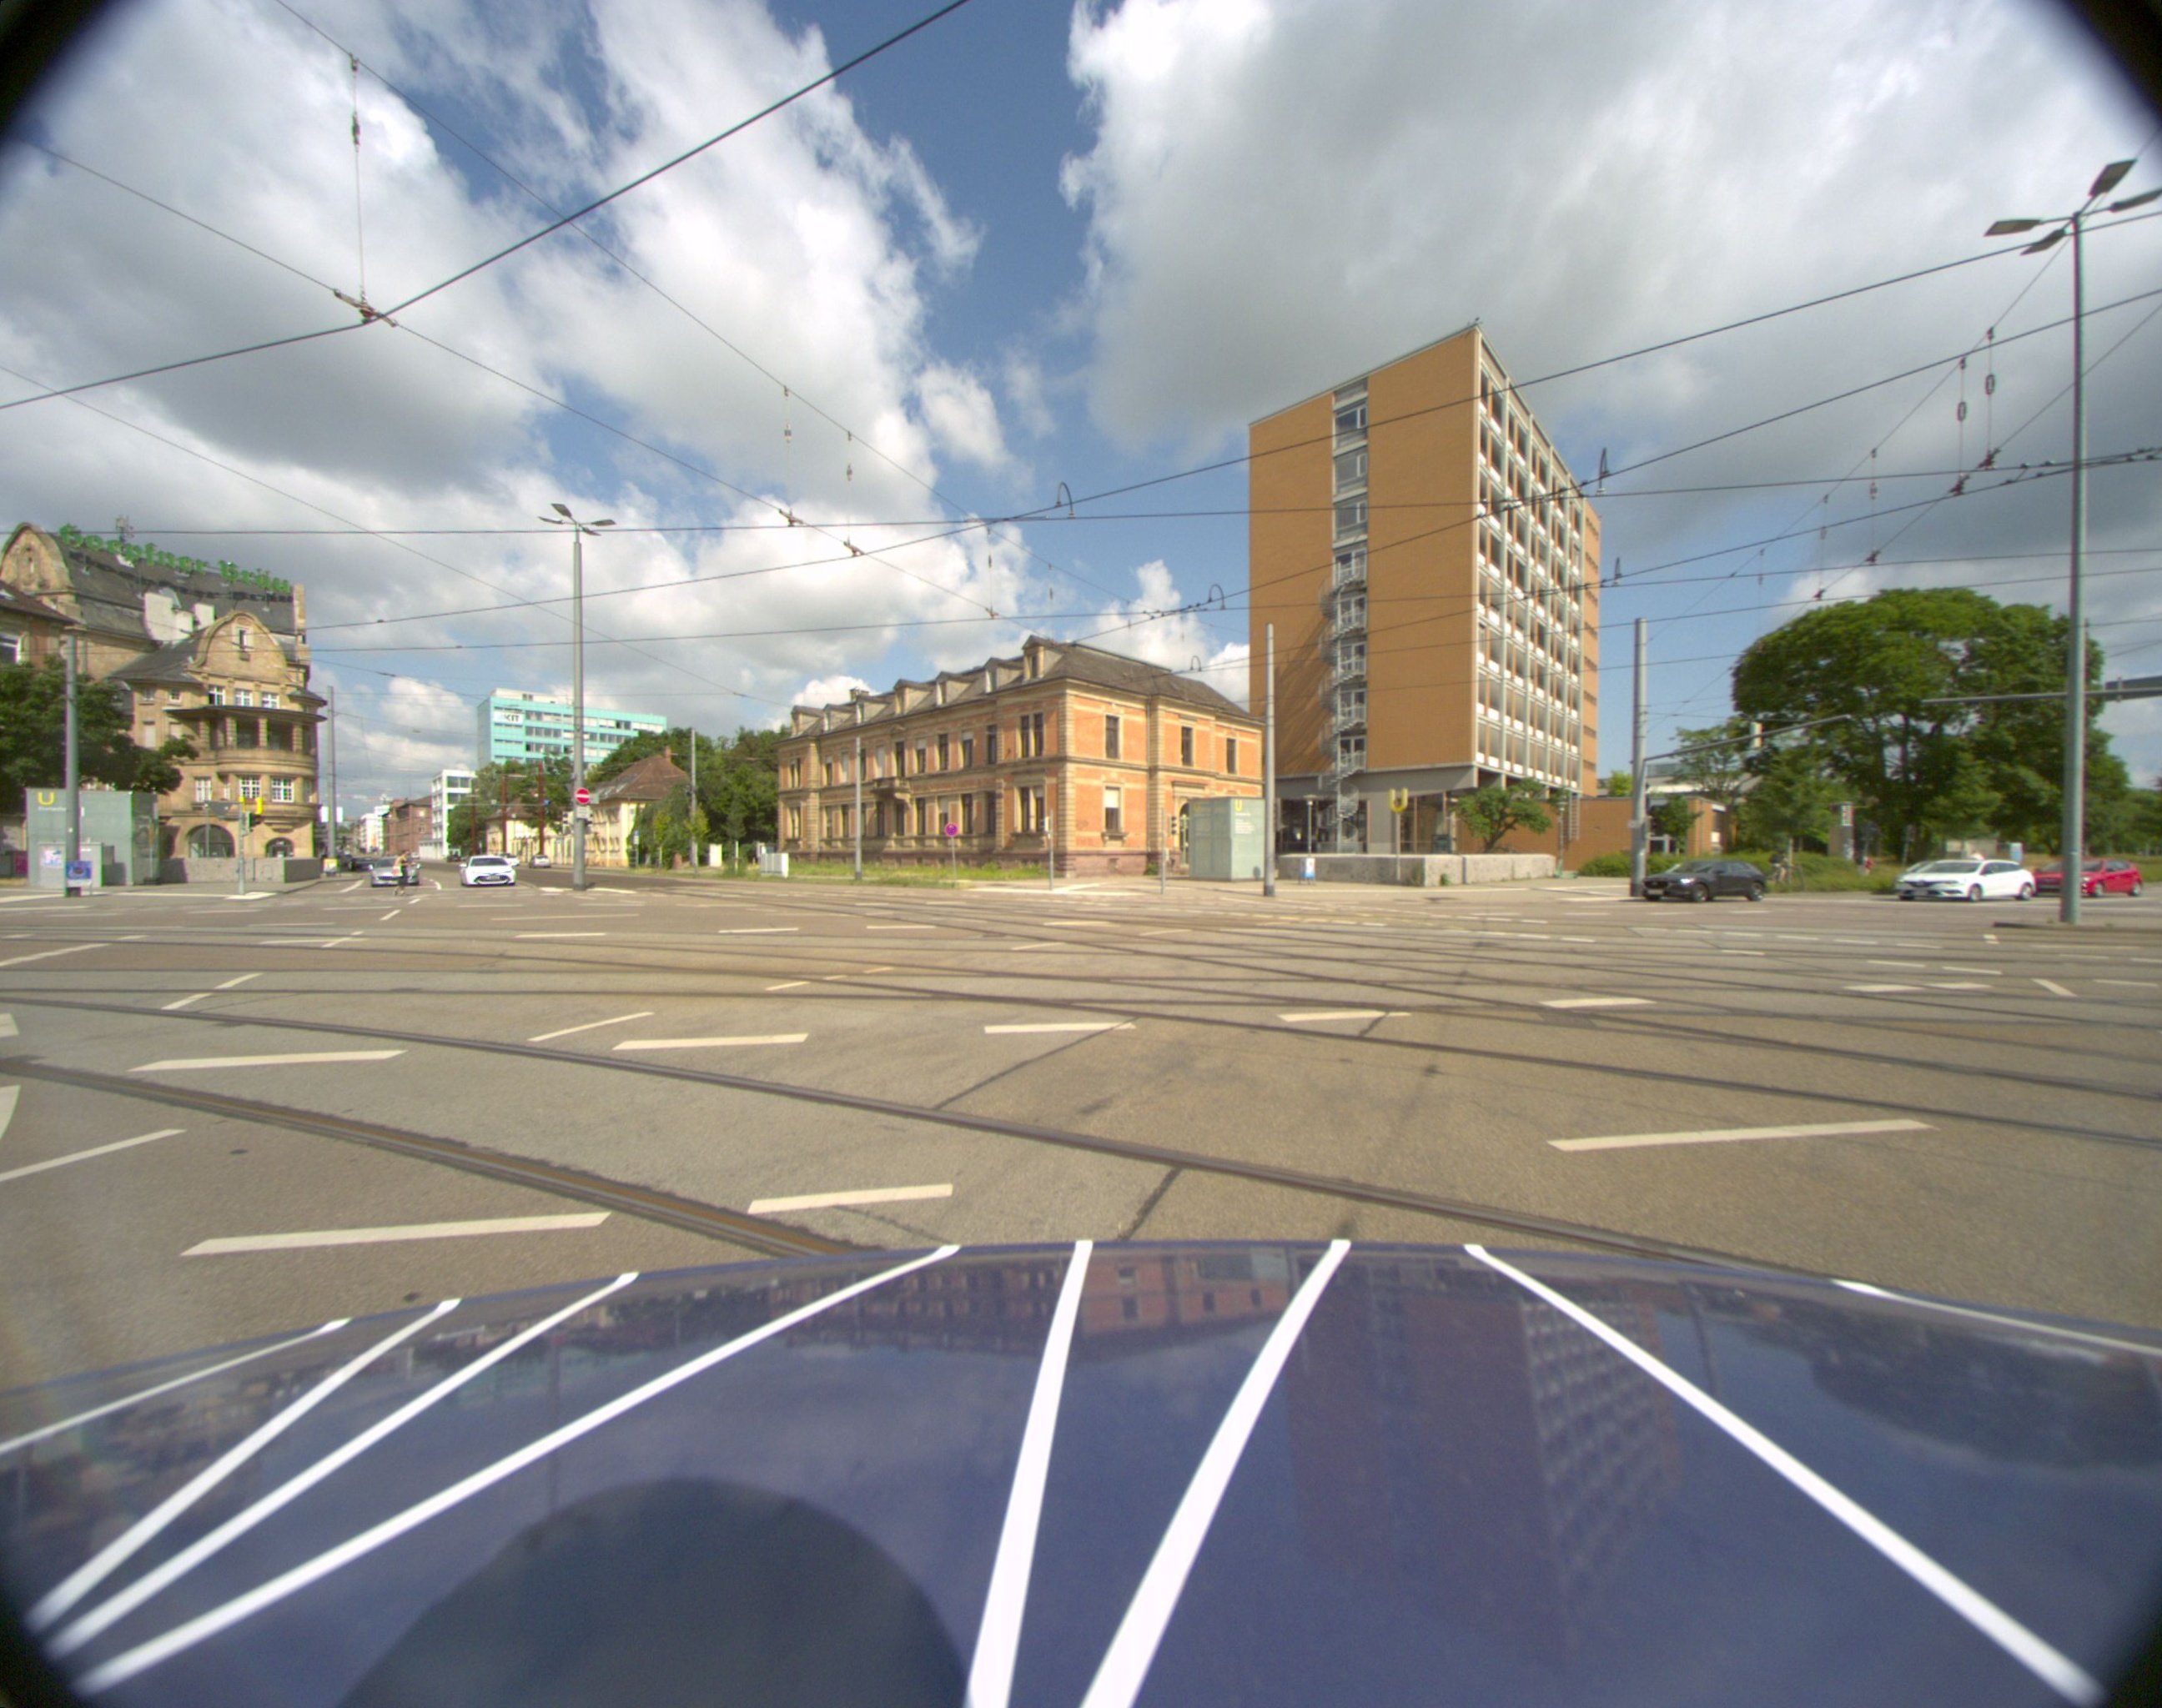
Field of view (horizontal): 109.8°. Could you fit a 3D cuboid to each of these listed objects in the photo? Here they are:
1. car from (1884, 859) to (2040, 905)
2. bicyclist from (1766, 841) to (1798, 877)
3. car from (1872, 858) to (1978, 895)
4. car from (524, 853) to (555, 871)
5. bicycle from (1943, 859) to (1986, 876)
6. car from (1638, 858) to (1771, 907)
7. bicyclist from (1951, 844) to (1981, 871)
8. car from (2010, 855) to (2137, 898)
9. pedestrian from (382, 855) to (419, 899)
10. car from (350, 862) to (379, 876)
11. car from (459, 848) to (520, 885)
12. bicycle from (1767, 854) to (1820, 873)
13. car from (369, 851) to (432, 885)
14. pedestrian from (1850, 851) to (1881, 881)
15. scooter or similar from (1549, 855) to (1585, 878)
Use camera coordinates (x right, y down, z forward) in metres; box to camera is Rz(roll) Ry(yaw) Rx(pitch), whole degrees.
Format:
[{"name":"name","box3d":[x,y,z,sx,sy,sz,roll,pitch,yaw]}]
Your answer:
[{"name":"car","box3d":[30.859,0.945,26.628,4.677,1.421,1.761,-1,-1,-16]},{"name":"bicyclist","box3d":[33.098,0.242,35.891,0.937,1.662,0.579,0,2,-4]},{"name":"car","box3d":[34.679,0.898,31.215,4.083,1.377,1.586,-1,-1,-22]},{"name":"car","box3d":[-64.273,0.986,90.145,3.989,2.001,2.004,-2,-1,41]},{"name":"bicycle","box3d":[48.774,0.728,41.947,2.277,0.892,0.652,0,1,-16]},{"name":"car","box3d":[22.409,1.003,27.315,4.215,1.567,1.644,-1,-1,-18]},{"name":"bicyclist","box3d":[48.948,0.183,42.016,1.170,1.449,0.635,-1,1,-16]},{"name":"car","box3d":[37.370,0.824,28.610,4.068,1.459,1.644,-1,-1,-19]},{"name":"pedestrian","box3d":[-23.746,0.788,26.522,0.544,1.507,0.743,0,1,7]},{"name":"car","box3d":[-72.706,1.533,77.110,3.989,1.376,1.874,-2,-1,43]},{"name":"car","box3d":[-27.615,0.615,35.604,1.960,1.586,4.495,-1,-1,-35]},{"name":"bicycle","box3d":[33.575,0.436,35.820,1.808,0.870,0.760,0,3,-4]},{"name":"car","box3d":[-33.897,0.701,37.963,1.842,1.586,3.990,-1,-1,-35]},{"name":"pedestrian","box3d":[41.359,0.633,40.069,0.955,1.569,0.771,0,1,27]},{"name":"scooter or similar","box3d":[26.308,0.676,41.165,1.533,1.177,0.435,2,2,20]}]
